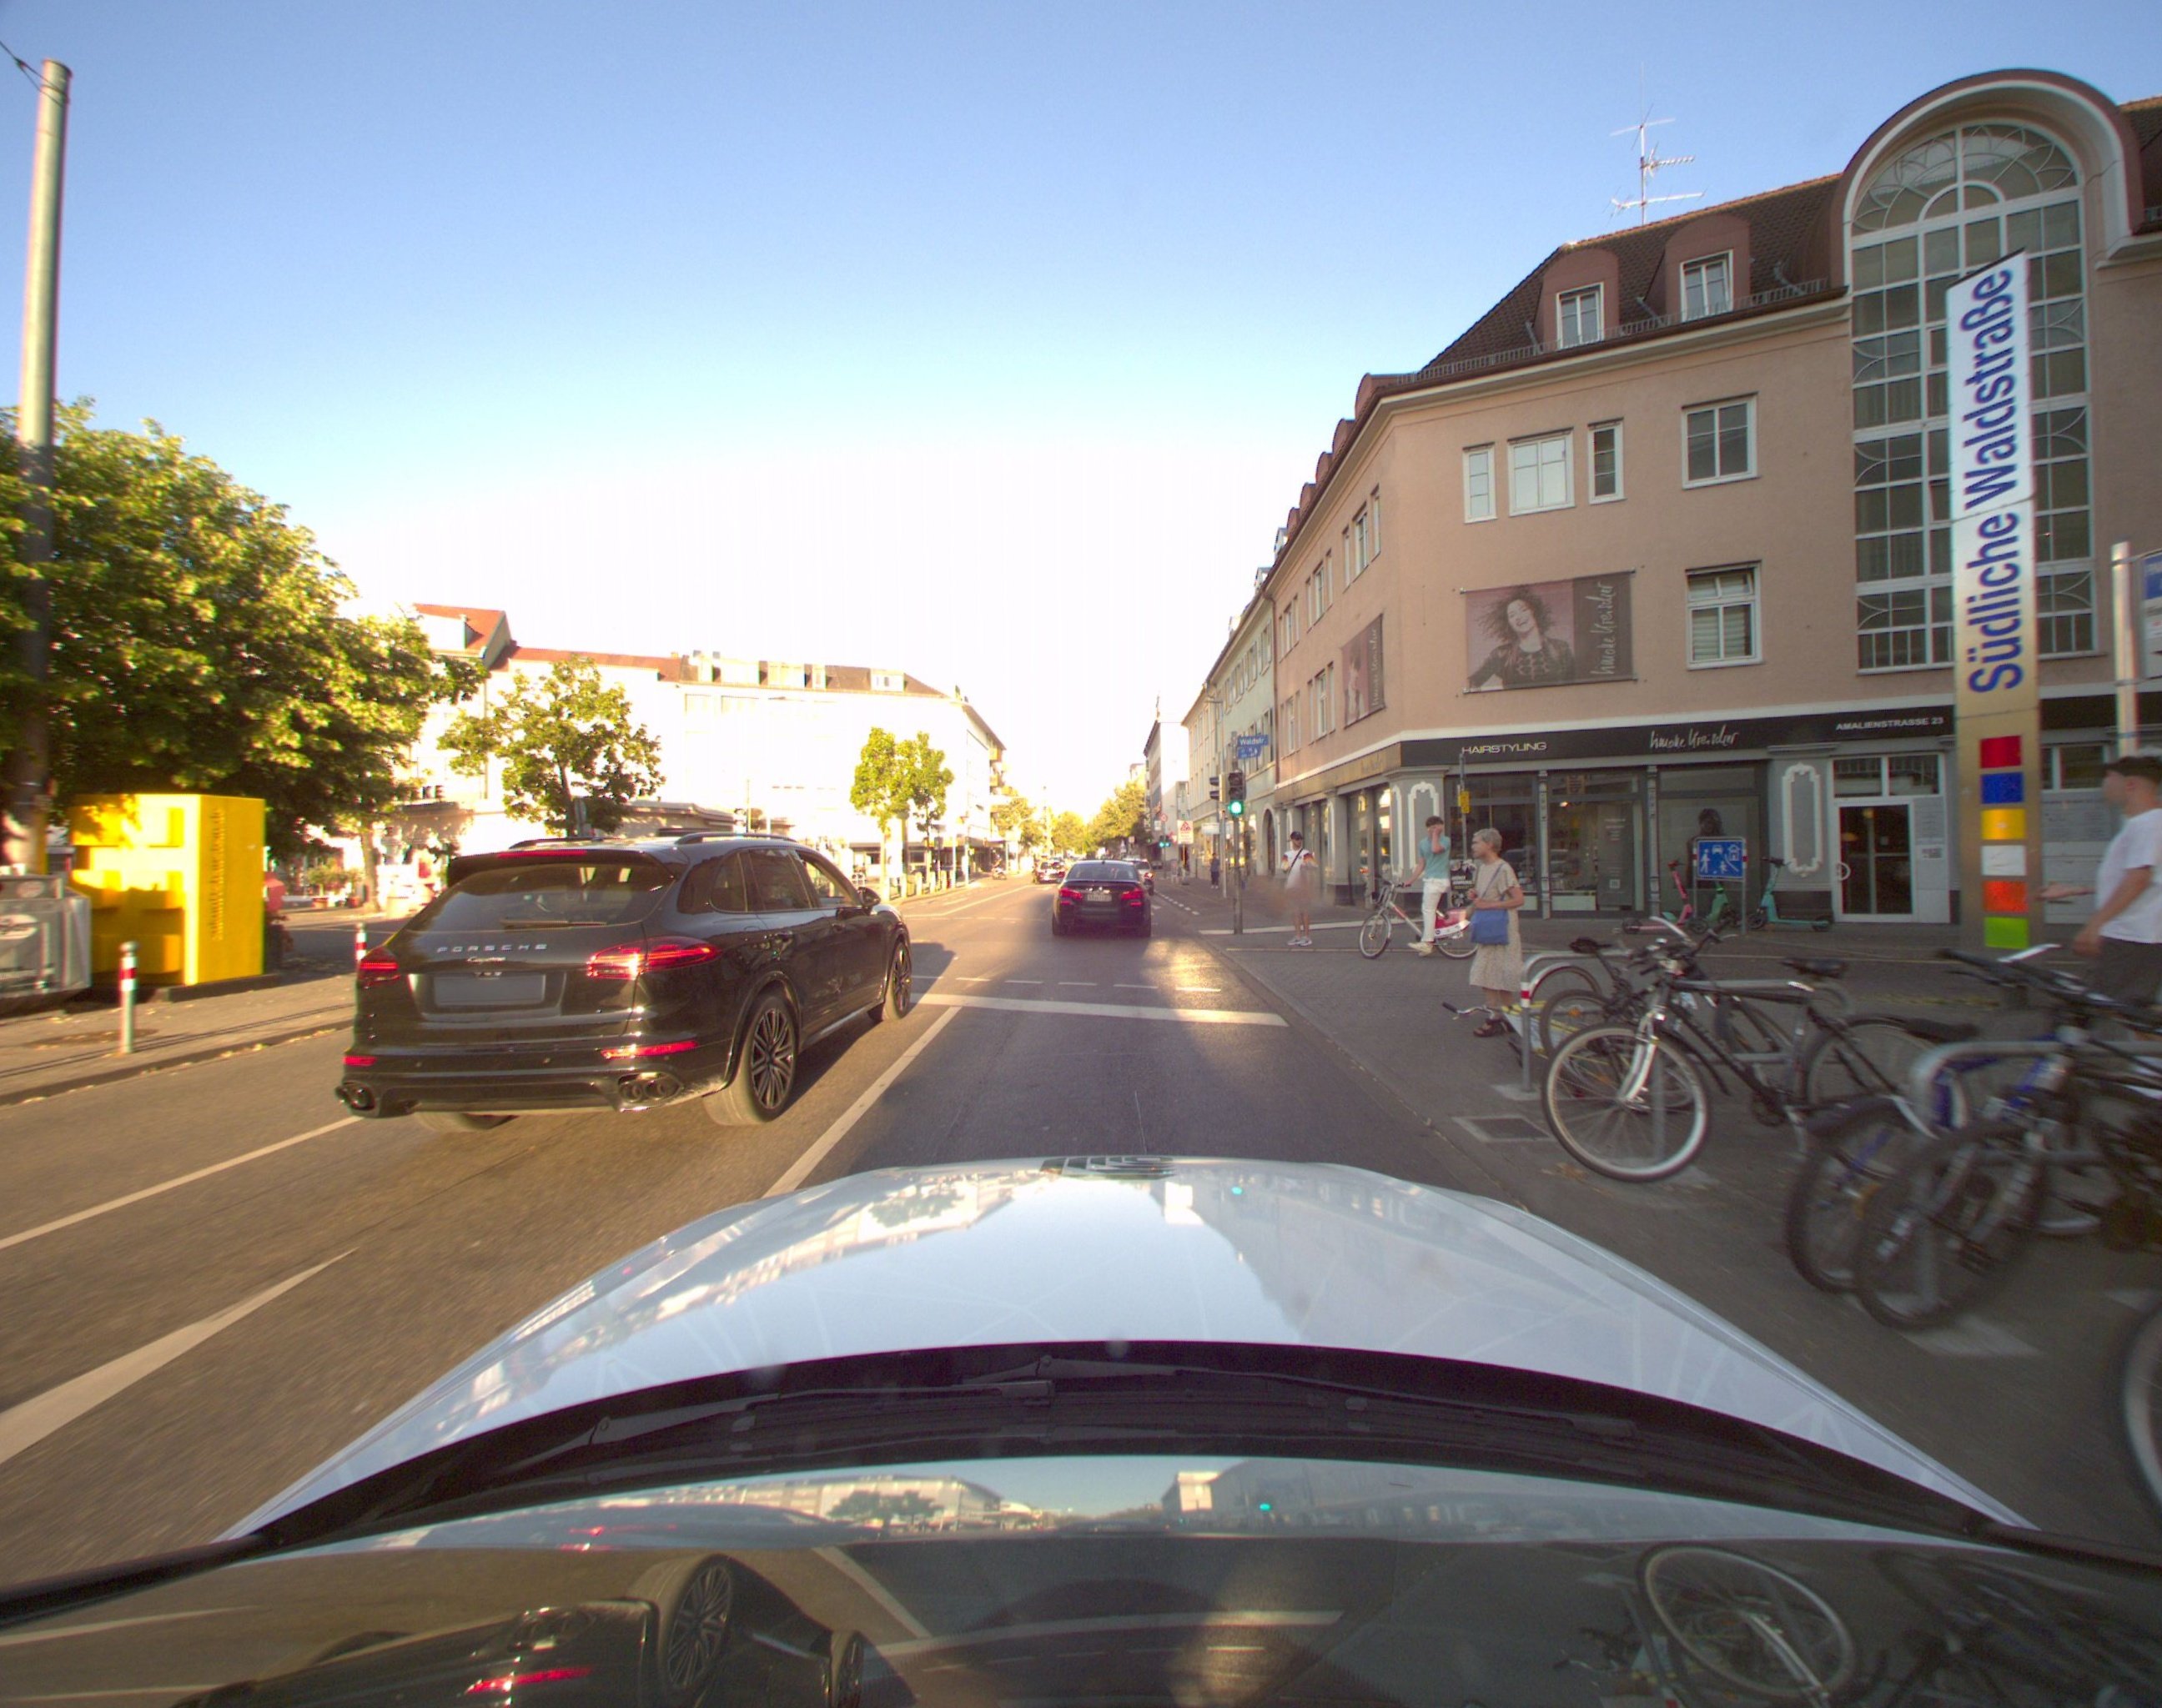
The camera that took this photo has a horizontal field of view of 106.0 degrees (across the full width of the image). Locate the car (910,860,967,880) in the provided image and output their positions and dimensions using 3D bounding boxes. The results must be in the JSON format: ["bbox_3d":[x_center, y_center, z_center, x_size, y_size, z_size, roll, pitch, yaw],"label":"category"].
[{"bbox_3d":[-11.285,1.285,64.413,3.952,1.486,2.011,-1,0,22],"label":"car"}]

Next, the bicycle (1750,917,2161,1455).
[{"bbox_3d":[3.092,0.848,2.458,1.782,1.173,0.620,-2,0,-10],"label":"bicycle"}]

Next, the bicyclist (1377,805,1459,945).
[{"bbox_3d":[4.583,0.285,11.133,0.828,1.826,0.833,-1,-1,9],"label":"bicyclist"}]

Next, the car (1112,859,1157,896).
[{"bbox_3d":[2.391,1.034,37.250,1.826,1.576,4.100,-1,0,0],"label":"car"}]

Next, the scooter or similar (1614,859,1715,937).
[{"bbox_3d":[9.502,0.707,13.299,1.242,1.214,0.470,-1,-1,24],"label":"scooter or similar"}]

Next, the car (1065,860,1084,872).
[{"bbox_3d":[-0.826,1.420,98.800,1.990,1.442,3.994,-1,0,-4],"label":"car"}]

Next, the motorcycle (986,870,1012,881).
[{"bbox_3d":[-6.018,1.531,59.383,2.007,0.780,0.668,-1,-1,40],"label":"motorcycle"}]

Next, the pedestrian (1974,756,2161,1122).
[{"bbox_3d":[5.595,0.422,4.419,0.815,1.817,0.877,-2,-1,37],"label":"pedestrian"}]

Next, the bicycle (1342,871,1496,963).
[{"bbox_3d":[4.580,0.847,11.173,1.808,1.186,0.796,-1,-1,10],"label":"bicycle"}]

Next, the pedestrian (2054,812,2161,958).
[{"bbox_3d":[13.466,0.369,10.403,1.095,1.775,0.824,-1,-1,-6],"label":"pedestrian"}]

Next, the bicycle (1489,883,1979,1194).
[{"bbox_3d":[3.001,0.795,3.840,1.839,1.239,0.638,-2,0,-4],"label":"bicycle"}]

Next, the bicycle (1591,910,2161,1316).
[{"bbox_3d":[2.979,0.866,3.092,1.782,1.173,0.620,-2,0,-10],"label":"bicycle"}]

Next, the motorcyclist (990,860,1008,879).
[{"bbox_3d":[-5.984,1.129,59.386,0.982,1.320,0.773,-1,-1,42],"label":"motorcyclist"}]

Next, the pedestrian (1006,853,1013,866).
[{"bbox_3d":[-9.336,0.769,106.771,0.820,1.676,0.871,-1,-1,0],"label":"pedestrian"}]

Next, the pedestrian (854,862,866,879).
[{"bbox_3d":[-19.461,1.454,71.709,0.950,1.537,0.901,-1,-1,-24],"label":"pedestrian"}]

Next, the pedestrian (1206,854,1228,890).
[{"bbox_3d":[6.338,0.839,38.001,0.821,1.642,0.871,-1,-1,-1],"label":"pedestrian"}]

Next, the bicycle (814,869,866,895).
[{"bbox_3d":[-12.408,1.438,41.928,2.433,1.256,0.788,-1,-1,2],"label":"bicycle"}]

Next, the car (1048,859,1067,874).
[{"bbox_3d":[-2.706,1.414,93.303,1.990,1.618,3.994,-1,0,-4],"label":"car"}]

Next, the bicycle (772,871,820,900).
[{"bbox_3d":[-12.623,1.393,36.085,1.846,1.256,0.633,-1,-1,2],"label":"bicycle"}]

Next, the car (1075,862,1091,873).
[{"bbox_3d":[0.278,1.748,105.549,1.731,1.293,3.994,-1,0,-4],"label":"car"}]

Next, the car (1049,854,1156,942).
[{"bbox_3d":[0.401,0.798,16.724,1.897,1.540,4.449,-1,0,0],"label":"car"}]

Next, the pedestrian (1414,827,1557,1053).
[{"bbox_3d":[3.236,0.634,6.511,0.782,1.653,0.785,-2,-1,45],"label":"pedestrian"}]

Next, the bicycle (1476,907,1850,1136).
[{"bbox_3d":[3.363,0.909,4.770,1.782,1.063,0.716,-2,0,-10],"label":"bicycle"}]

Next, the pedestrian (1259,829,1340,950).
[{"bbox_3d":[3.572,0.555,13.326,0.942,1.897,0.819,-1,-1,-26],"label":"pedestrian"}]

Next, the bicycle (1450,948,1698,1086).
[{"bbox_3d":[3.276,1.057,5.528,1.004,0.681,1.047,-1,0,-8],"label":"bicycle"}]

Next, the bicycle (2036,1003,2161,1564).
[{"bbox_3d":[3.237,0.842,1.502,2.166,1.075,0.804,-2,0,-6],"label":"bicycle"}]

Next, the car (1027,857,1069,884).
[{"bbox_3d":[-2.115,1.000,51.139,1.874,1.595,4.430,-1,0,-13],"label":"car"}]

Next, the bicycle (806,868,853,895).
[{"bbox_3d":[-12.544,1.353,40.625,1.997,1.256,0.950,-1,-1,2],"label":"bicycle"}]

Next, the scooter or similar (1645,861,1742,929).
[{"bbox_3d":[10.667,0.705,14.215,1.289,1.143,0.366,-1,-1,29],"label":"scooter or similar"}]

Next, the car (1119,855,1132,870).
[{"bbox_3d":[5.517,1.120,101.892,1.417,1.855,3.050,0,-1,-2],"label":"car"}]

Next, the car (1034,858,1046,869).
[{"bbox_3d":[-6.111,1.380,120.383,1.731,1.461,3.994,-1,0,-4],"label":"car"}]

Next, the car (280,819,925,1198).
[{"bbox_3d":[-2.673,0.725,6.067,1.941,1.714,4.564,-2,0,2],"label":"car"}]

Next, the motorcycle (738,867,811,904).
[{"bbox_3d":[-12.381,1.265,32.923,2.571,1.429,0.868,-1,-1,2],"label":"motorcycle"}]

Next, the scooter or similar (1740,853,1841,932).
[{"bbox_3d":[11.700,0.623,13.458,1.189,1.260,0.366,-1,-1,27],"label":"scooter or similar"}]
